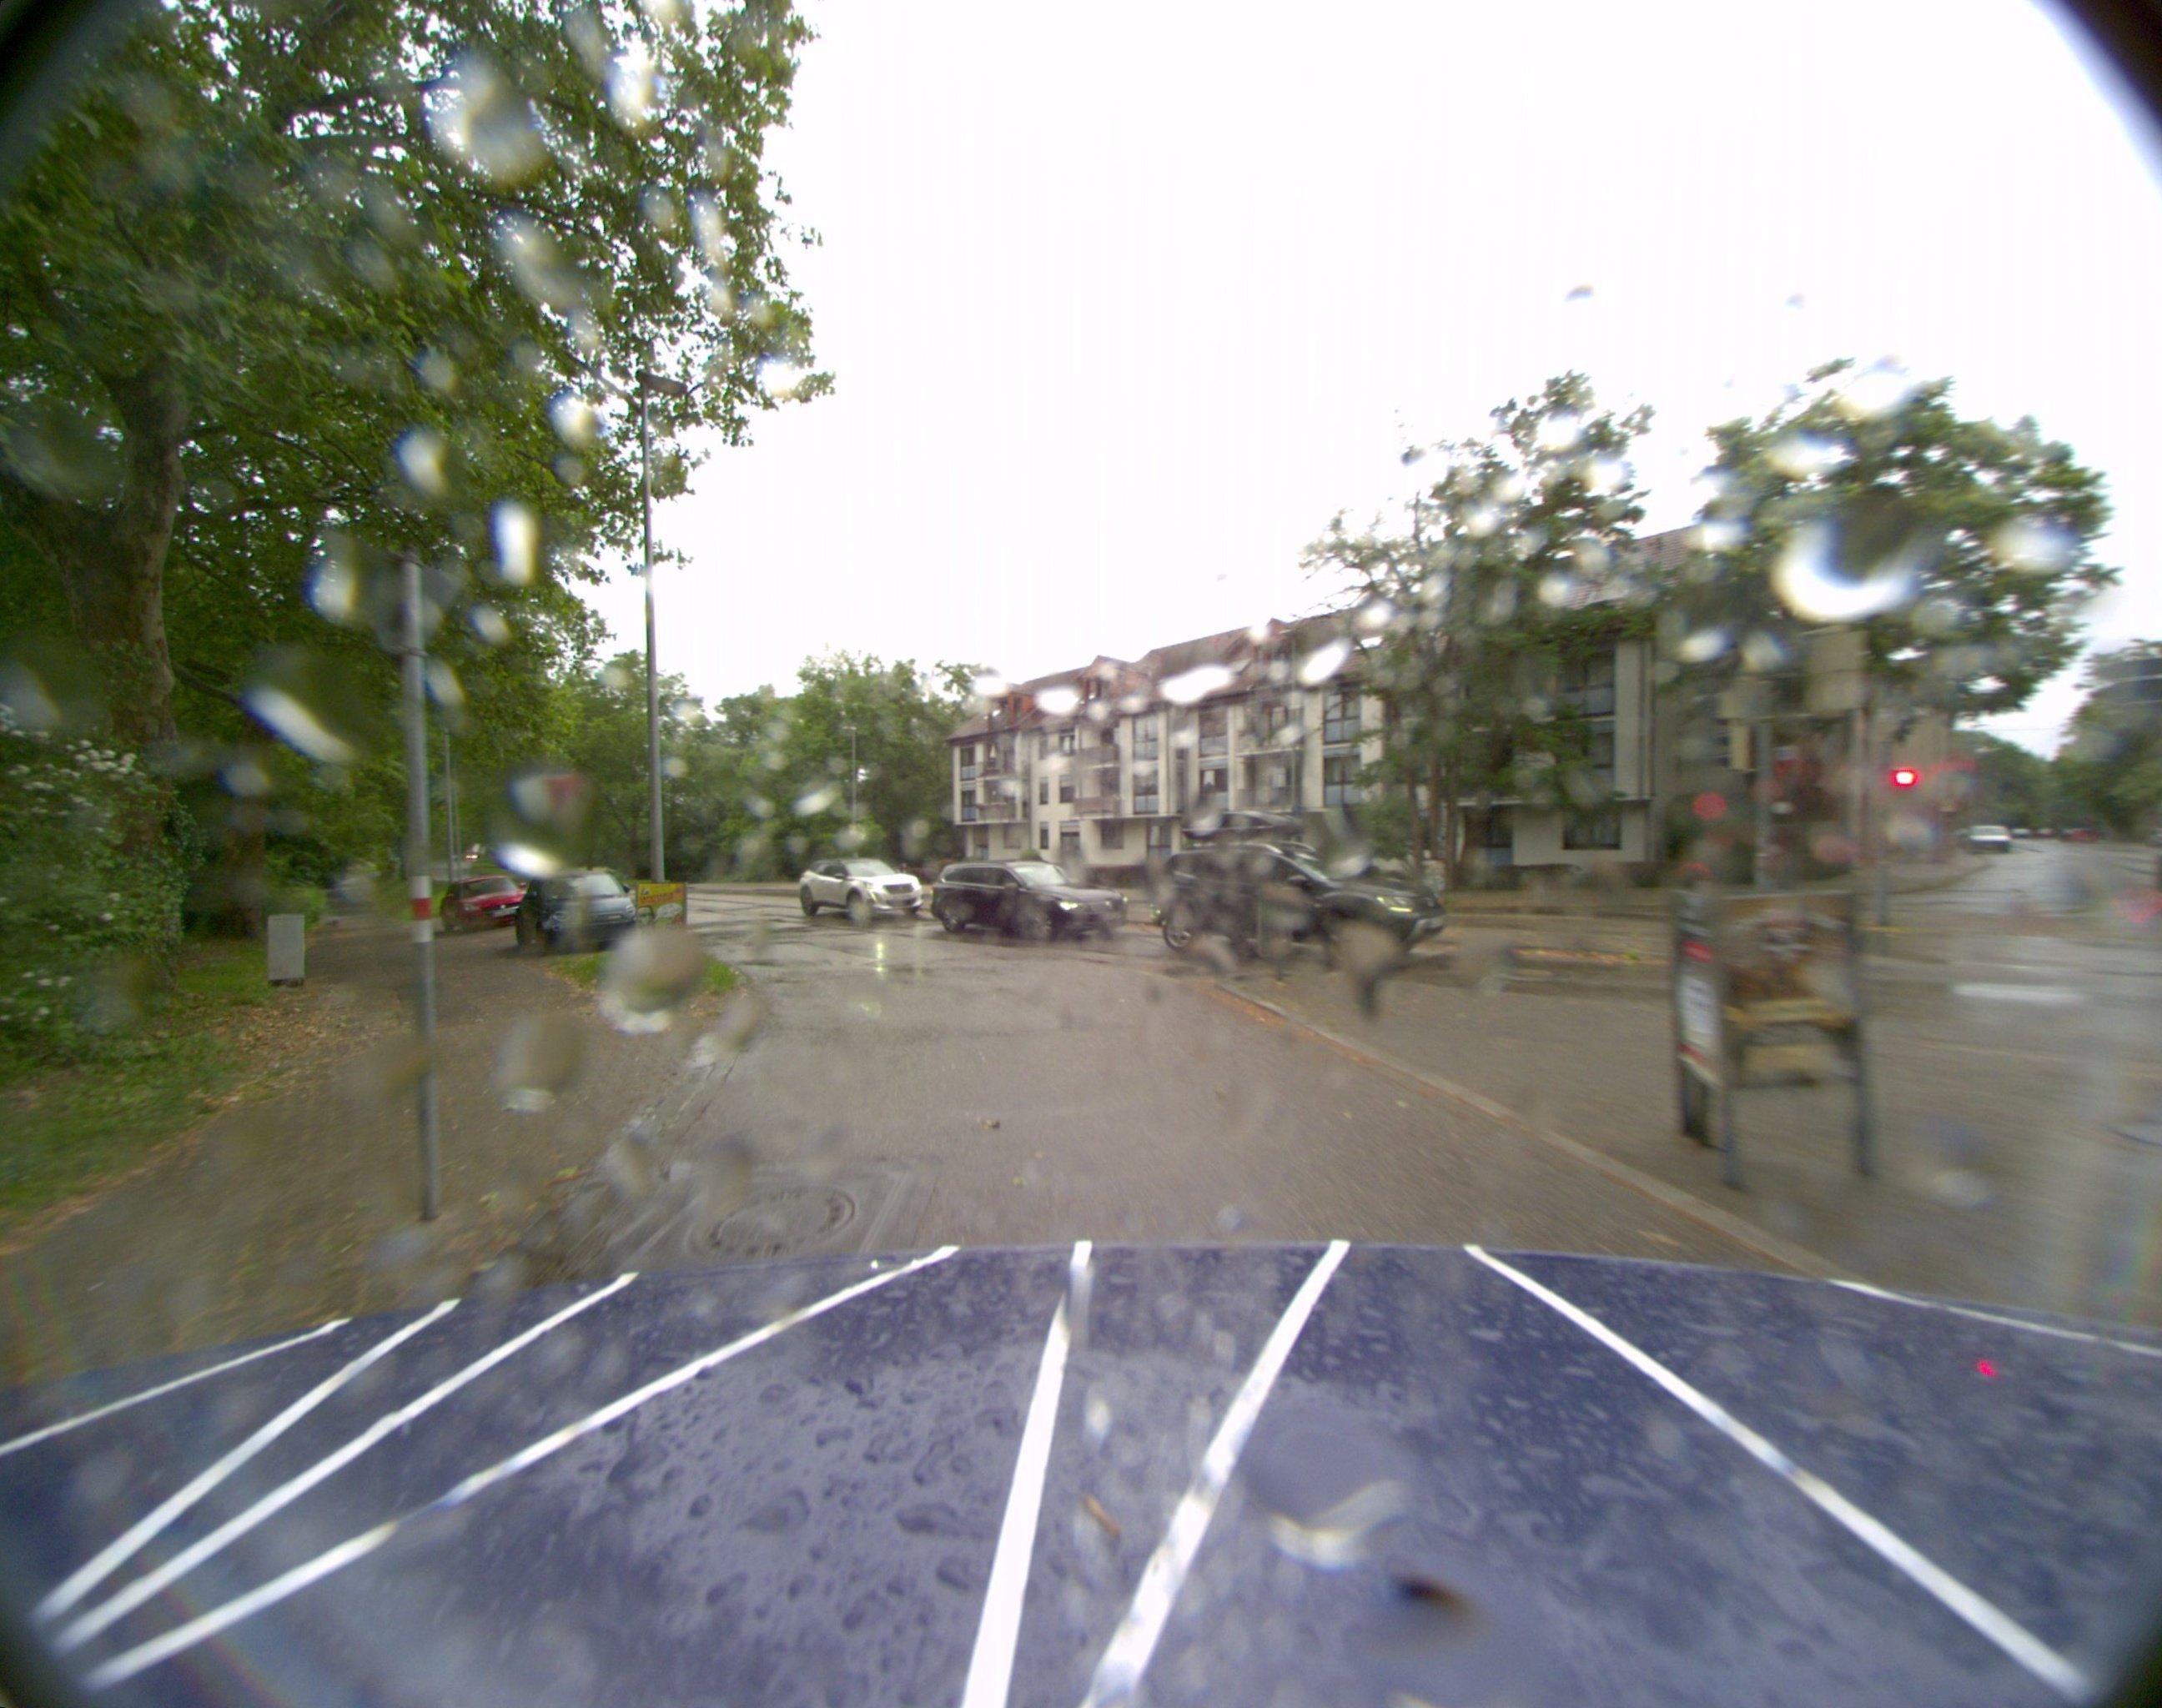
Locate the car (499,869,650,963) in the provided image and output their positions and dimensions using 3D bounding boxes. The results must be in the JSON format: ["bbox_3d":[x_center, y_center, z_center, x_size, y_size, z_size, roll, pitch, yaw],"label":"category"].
[{"bbox_3d":[-10.222,1.134,15.240,1.758,1.483,3.589,-6,4,-45],"label":"car"}]

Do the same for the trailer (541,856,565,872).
[{"bbox_3d":[-88.701,1.636,127.565,2.813,2.648,6.633,0,1,-40],"label":"trailer"}]

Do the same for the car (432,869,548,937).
[{"bbox_3d":[-16.952,1.370,21.750,3.733,1.510,1.827,-3,6,43],"label":"car"}]

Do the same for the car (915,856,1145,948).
[{"bbox_3d":[-1.158,0.878,15.154,4.645,1.448,1.841,-2,2,44],"label":"car"}]

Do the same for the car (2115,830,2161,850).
[{"bbox_3d":[80.709,-1.036,56.844,1.820,1.434,3.871,0,1,-35],"label":"car"}]

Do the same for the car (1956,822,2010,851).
[{"bbox_3d":[63.727,-1.202,53.747,4.458,1.947,2.077,0,1,-45],"label":"car"}]

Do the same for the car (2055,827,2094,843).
[{"bbox_3d":[107.107,-2.038,81.947,1.922,1.642,3.989,1,1,43],"label":"car"}]

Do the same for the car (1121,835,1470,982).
[{"bbox_3d":[2.950,0.683,11.196,4.588,1.701,1.769,-2,1,44],"label":"car"}]

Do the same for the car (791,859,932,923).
[{"bbox_3d":[-6.021,0.925,20.544,1.762,1.527,4.355,-1,0,-45],"label":"car"}]
